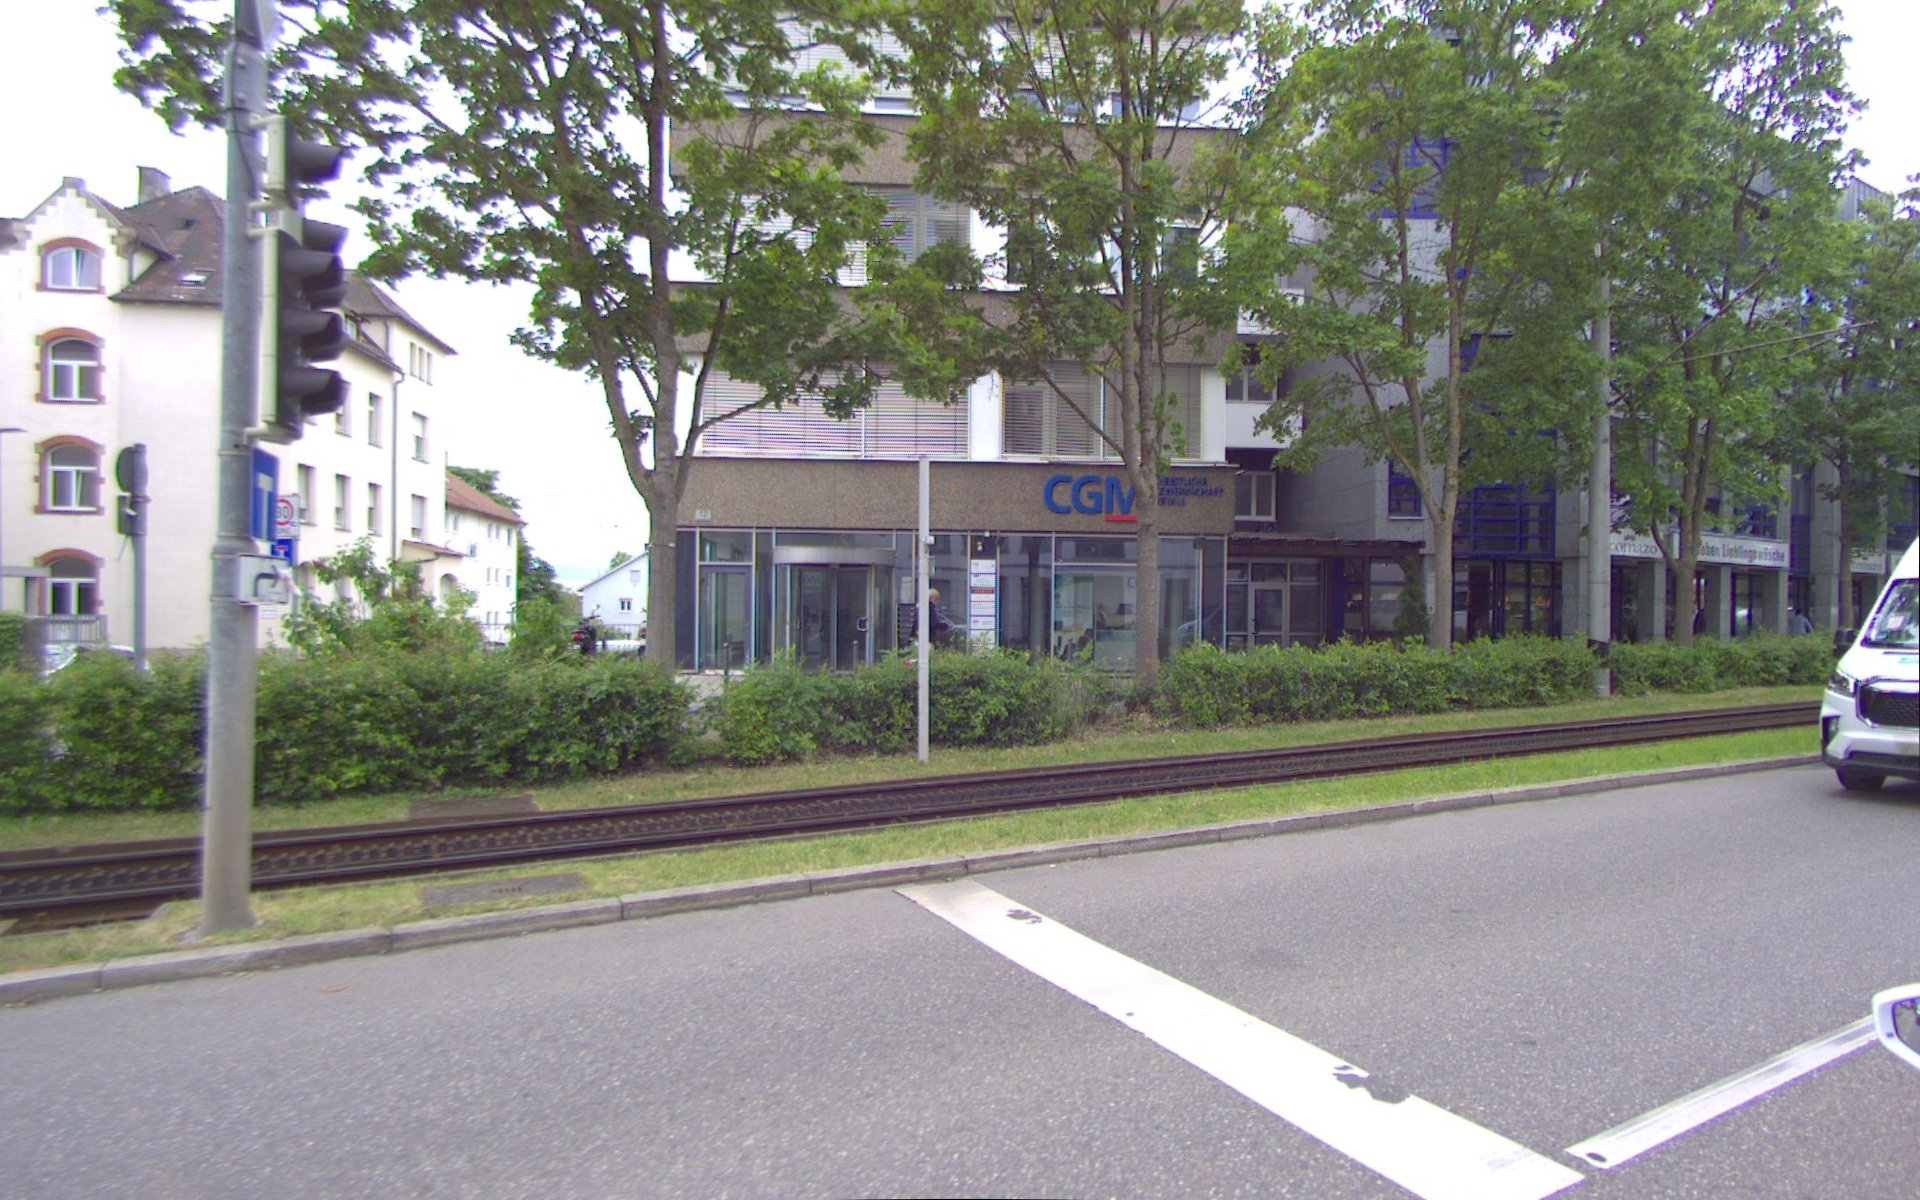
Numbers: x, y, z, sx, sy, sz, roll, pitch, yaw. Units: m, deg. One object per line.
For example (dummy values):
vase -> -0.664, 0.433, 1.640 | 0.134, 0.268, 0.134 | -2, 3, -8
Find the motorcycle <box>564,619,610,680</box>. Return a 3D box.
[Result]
motorcycle -> -7.690, 0.995, 20.769 | 0.558, 1.215, 1.881 | 1, -1, -10

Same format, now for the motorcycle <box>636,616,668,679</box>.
motorcycle -> -6.203, 0.937, 20.291 | 0.559, 1.215, 1.879 | 1, -1, -16

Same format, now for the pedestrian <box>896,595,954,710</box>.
pedestrian -> -0.544, 0.801, 15.474 | 0.674, 1.728, 0.685 | 1, -2, -27

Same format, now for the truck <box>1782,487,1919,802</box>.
truck -> 10.591, 0.422, 9.790 | 5.728, 2.650, 2.155 | 1, -1, -30

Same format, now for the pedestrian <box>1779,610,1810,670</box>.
pedestrian -> 28.858, 1.371, 34.727 | 0.564, 2.040, 0.678 | 1, -1, -29

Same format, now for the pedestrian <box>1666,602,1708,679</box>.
pedestrian -> 18.749, 1.042, 25.920 | 0.614, 1.933, 0.672 | 1, -2, -29
